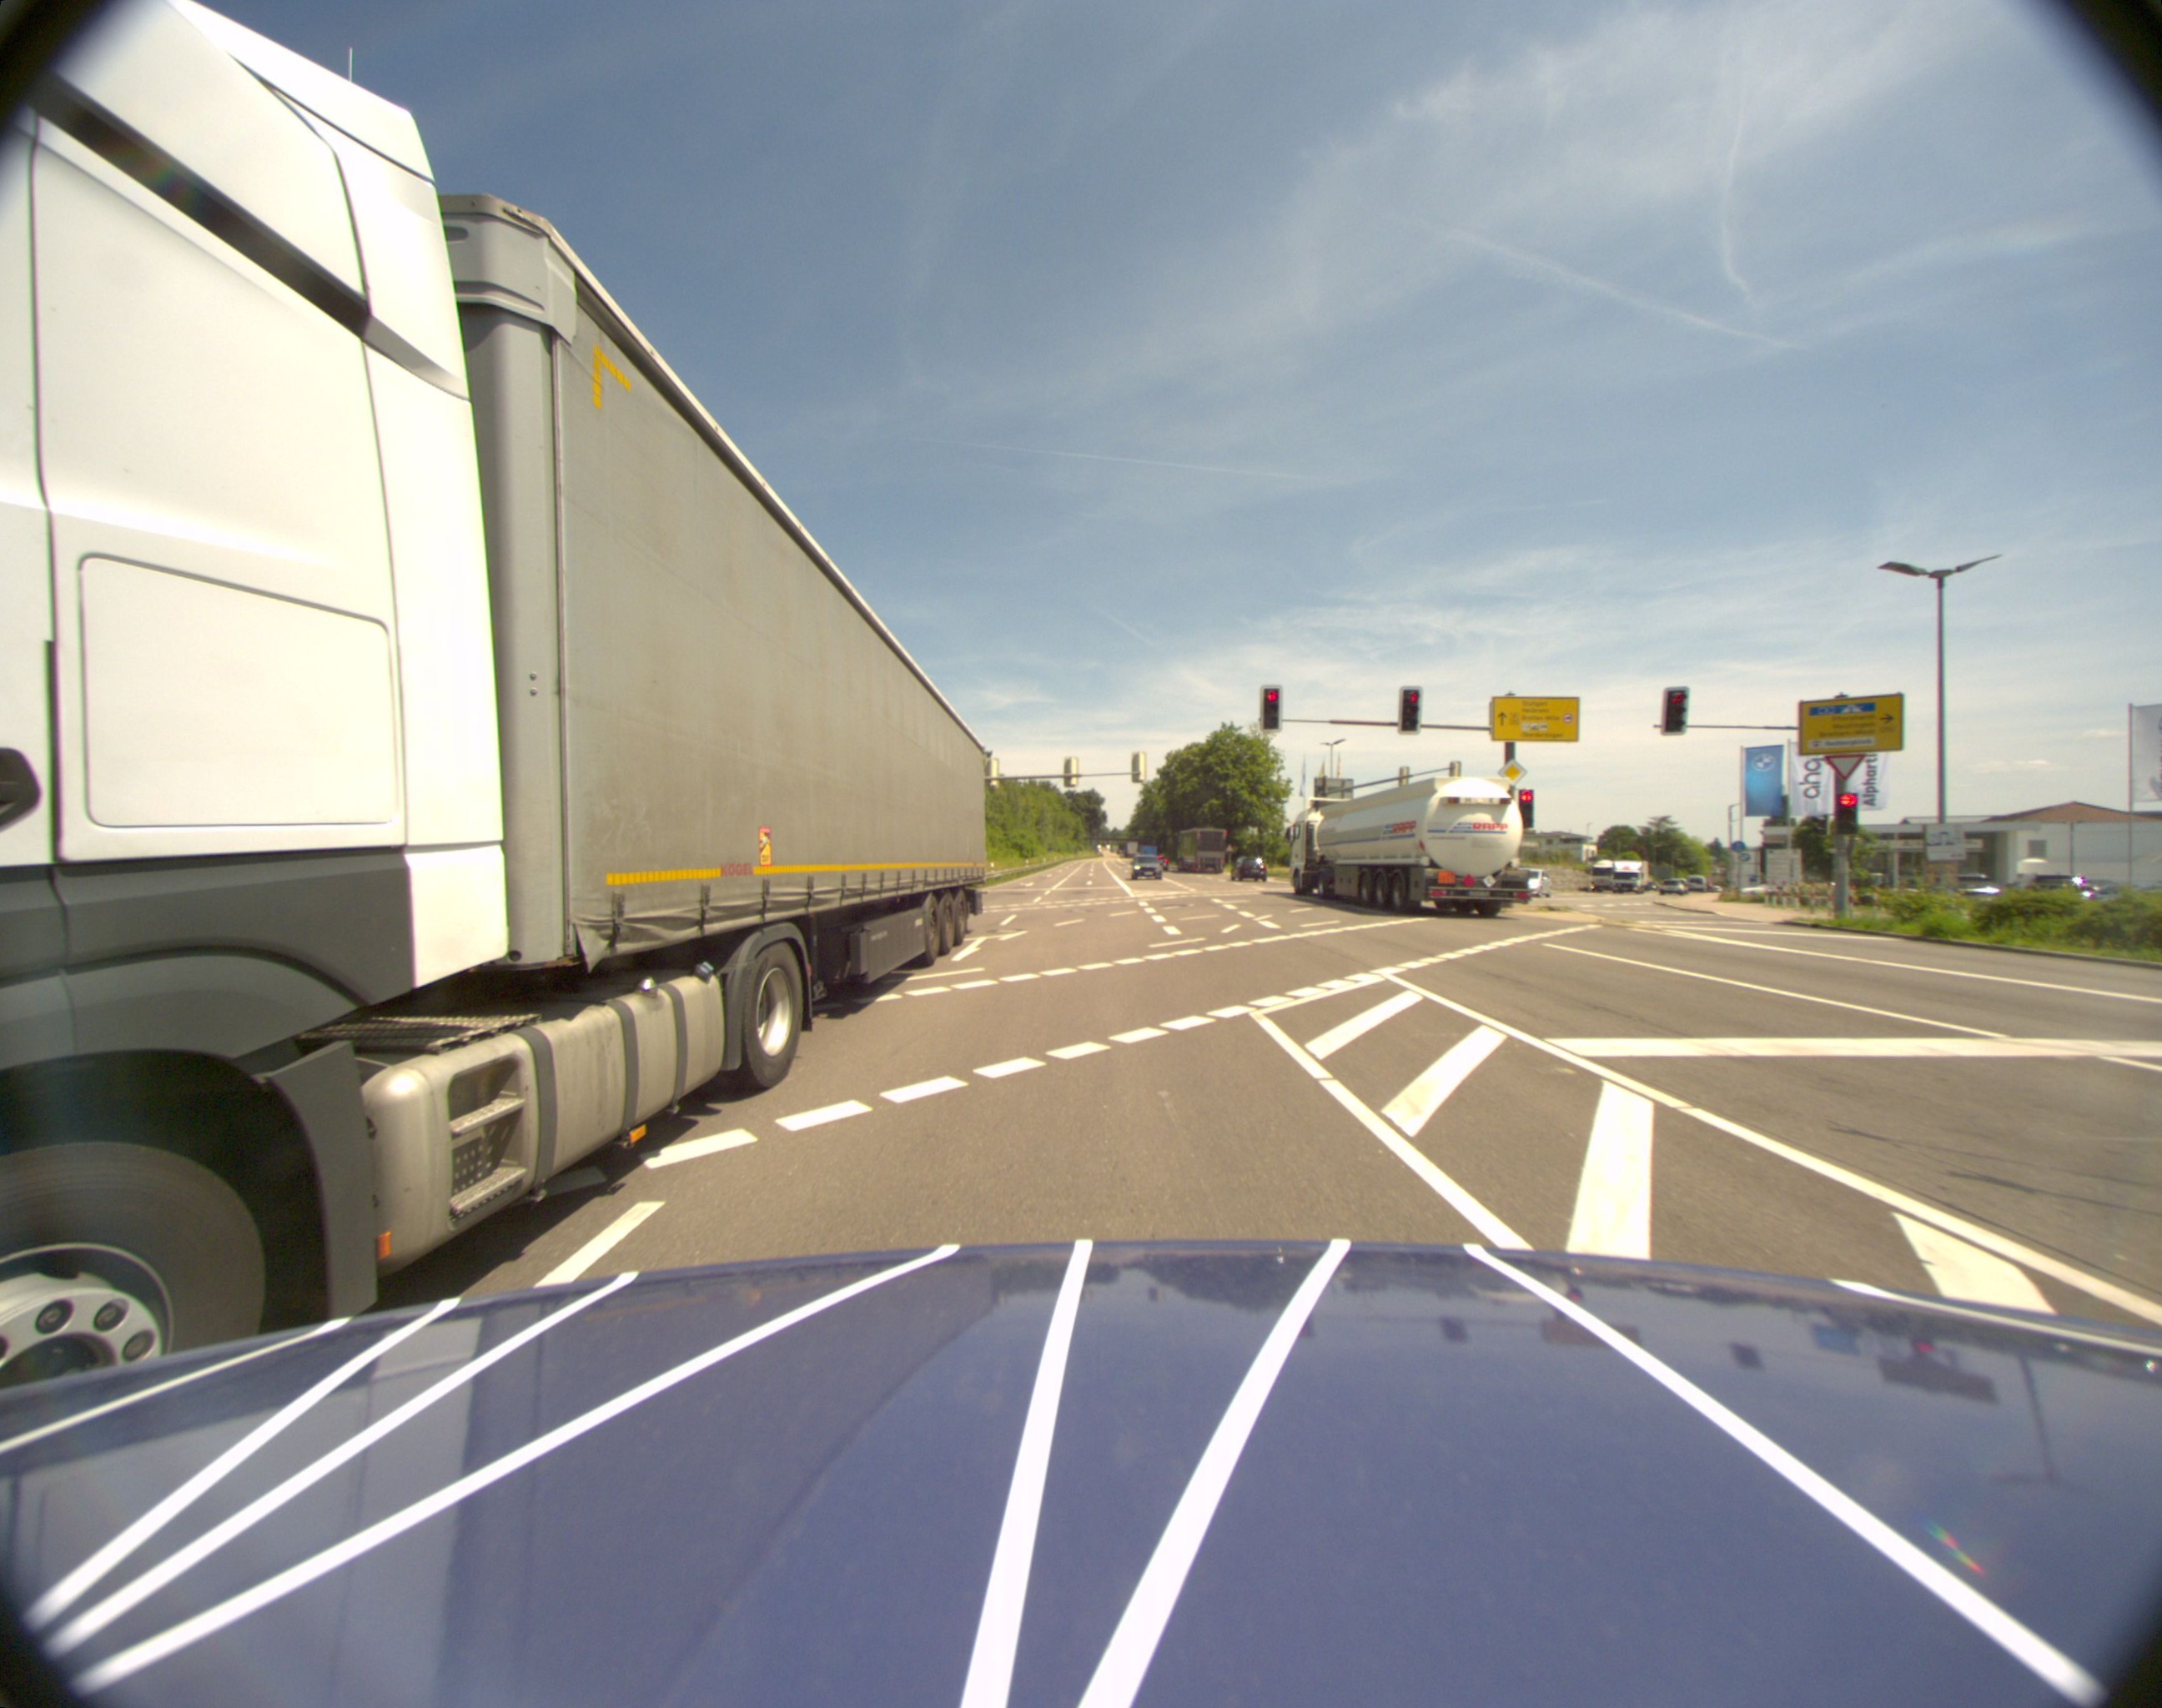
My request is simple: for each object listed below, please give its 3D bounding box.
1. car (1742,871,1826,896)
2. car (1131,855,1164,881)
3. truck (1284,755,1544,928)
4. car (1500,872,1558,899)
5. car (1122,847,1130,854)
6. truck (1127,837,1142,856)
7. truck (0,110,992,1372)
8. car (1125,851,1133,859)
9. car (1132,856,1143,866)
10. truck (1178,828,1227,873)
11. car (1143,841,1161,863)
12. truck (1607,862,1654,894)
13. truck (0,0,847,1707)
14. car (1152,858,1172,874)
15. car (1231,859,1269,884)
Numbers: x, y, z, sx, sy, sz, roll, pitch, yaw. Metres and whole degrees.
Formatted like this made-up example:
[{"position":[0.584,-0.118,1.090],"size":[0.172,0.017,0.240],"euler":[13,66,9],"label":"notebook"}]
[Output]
[{"position":[47.562,1.972,51.552],"size":[3.988,1.565,2.004],"euler":[1,0,37],"label":"car"},{"position":[4.340,0.874,49.838],"size":[1.928,1.601,4.510],"euler":[-1,0,2],"label":"car"},{"position":[9.762,-0.287,25.244],"size":[2.611,3.994,15.133],"euler":[1,0,3],"label":"truck"},{"position":[25.155,1.735,42.593],"size":[1.918,1.413,4.009],"euler":[1,0,43],"label":"car"},{"position":[13.802,-1.063,233.241],"size":[2.168,2.002,4.002],"euler":[1,0,6],"label":"car"},{"position":[13.454,-1.830,191.399],"size":[3.533,4.496,7.204],"euler":[-2,0,6],"label":"truck"},{"position":[-3.442,-0.335,9.474],"size":[2.981,3.986,14.122],"euler":[1,0,0],"label":"truck"},{"position":[12.756,0.347,200.593],"size":[1.899,2.002,3.754],"euler":[1,0,6],"label":"car"},{"position":[9.504,1.150,128.394],"size":[1.687,1.489,3.955],"euler":[3,0,3],"label":"car"},{"position":[11.757,-0.334,75.228],"size":[2.850,3.932,17.090],"euler":[1,0,3],"label":"truck"},{"position":[13.526,-0.389,144.844],"size":[3.350,4.056,7.696],"euler":[1,0,6],"label":"car"},{"position":[58.997,2.512,81.509],"size":[2.994,3.201,9.635],"euler":[1,0,42],"label":"truck"},{"position":[-3.442,-0.313,2.997],"size":[2.980,3.986,6.327],"euler":[1,0,0],"label":"truck"},{"position":[7.995,1.160,75.062],"size":[1.687,1.489,3.955],"euler":[3,0,3],"label":"car"},{"position":[10.879,1.116,49.121],"size":[1.687,1.420,4.154],"euler":[1,1,3],"label":"car"}]
